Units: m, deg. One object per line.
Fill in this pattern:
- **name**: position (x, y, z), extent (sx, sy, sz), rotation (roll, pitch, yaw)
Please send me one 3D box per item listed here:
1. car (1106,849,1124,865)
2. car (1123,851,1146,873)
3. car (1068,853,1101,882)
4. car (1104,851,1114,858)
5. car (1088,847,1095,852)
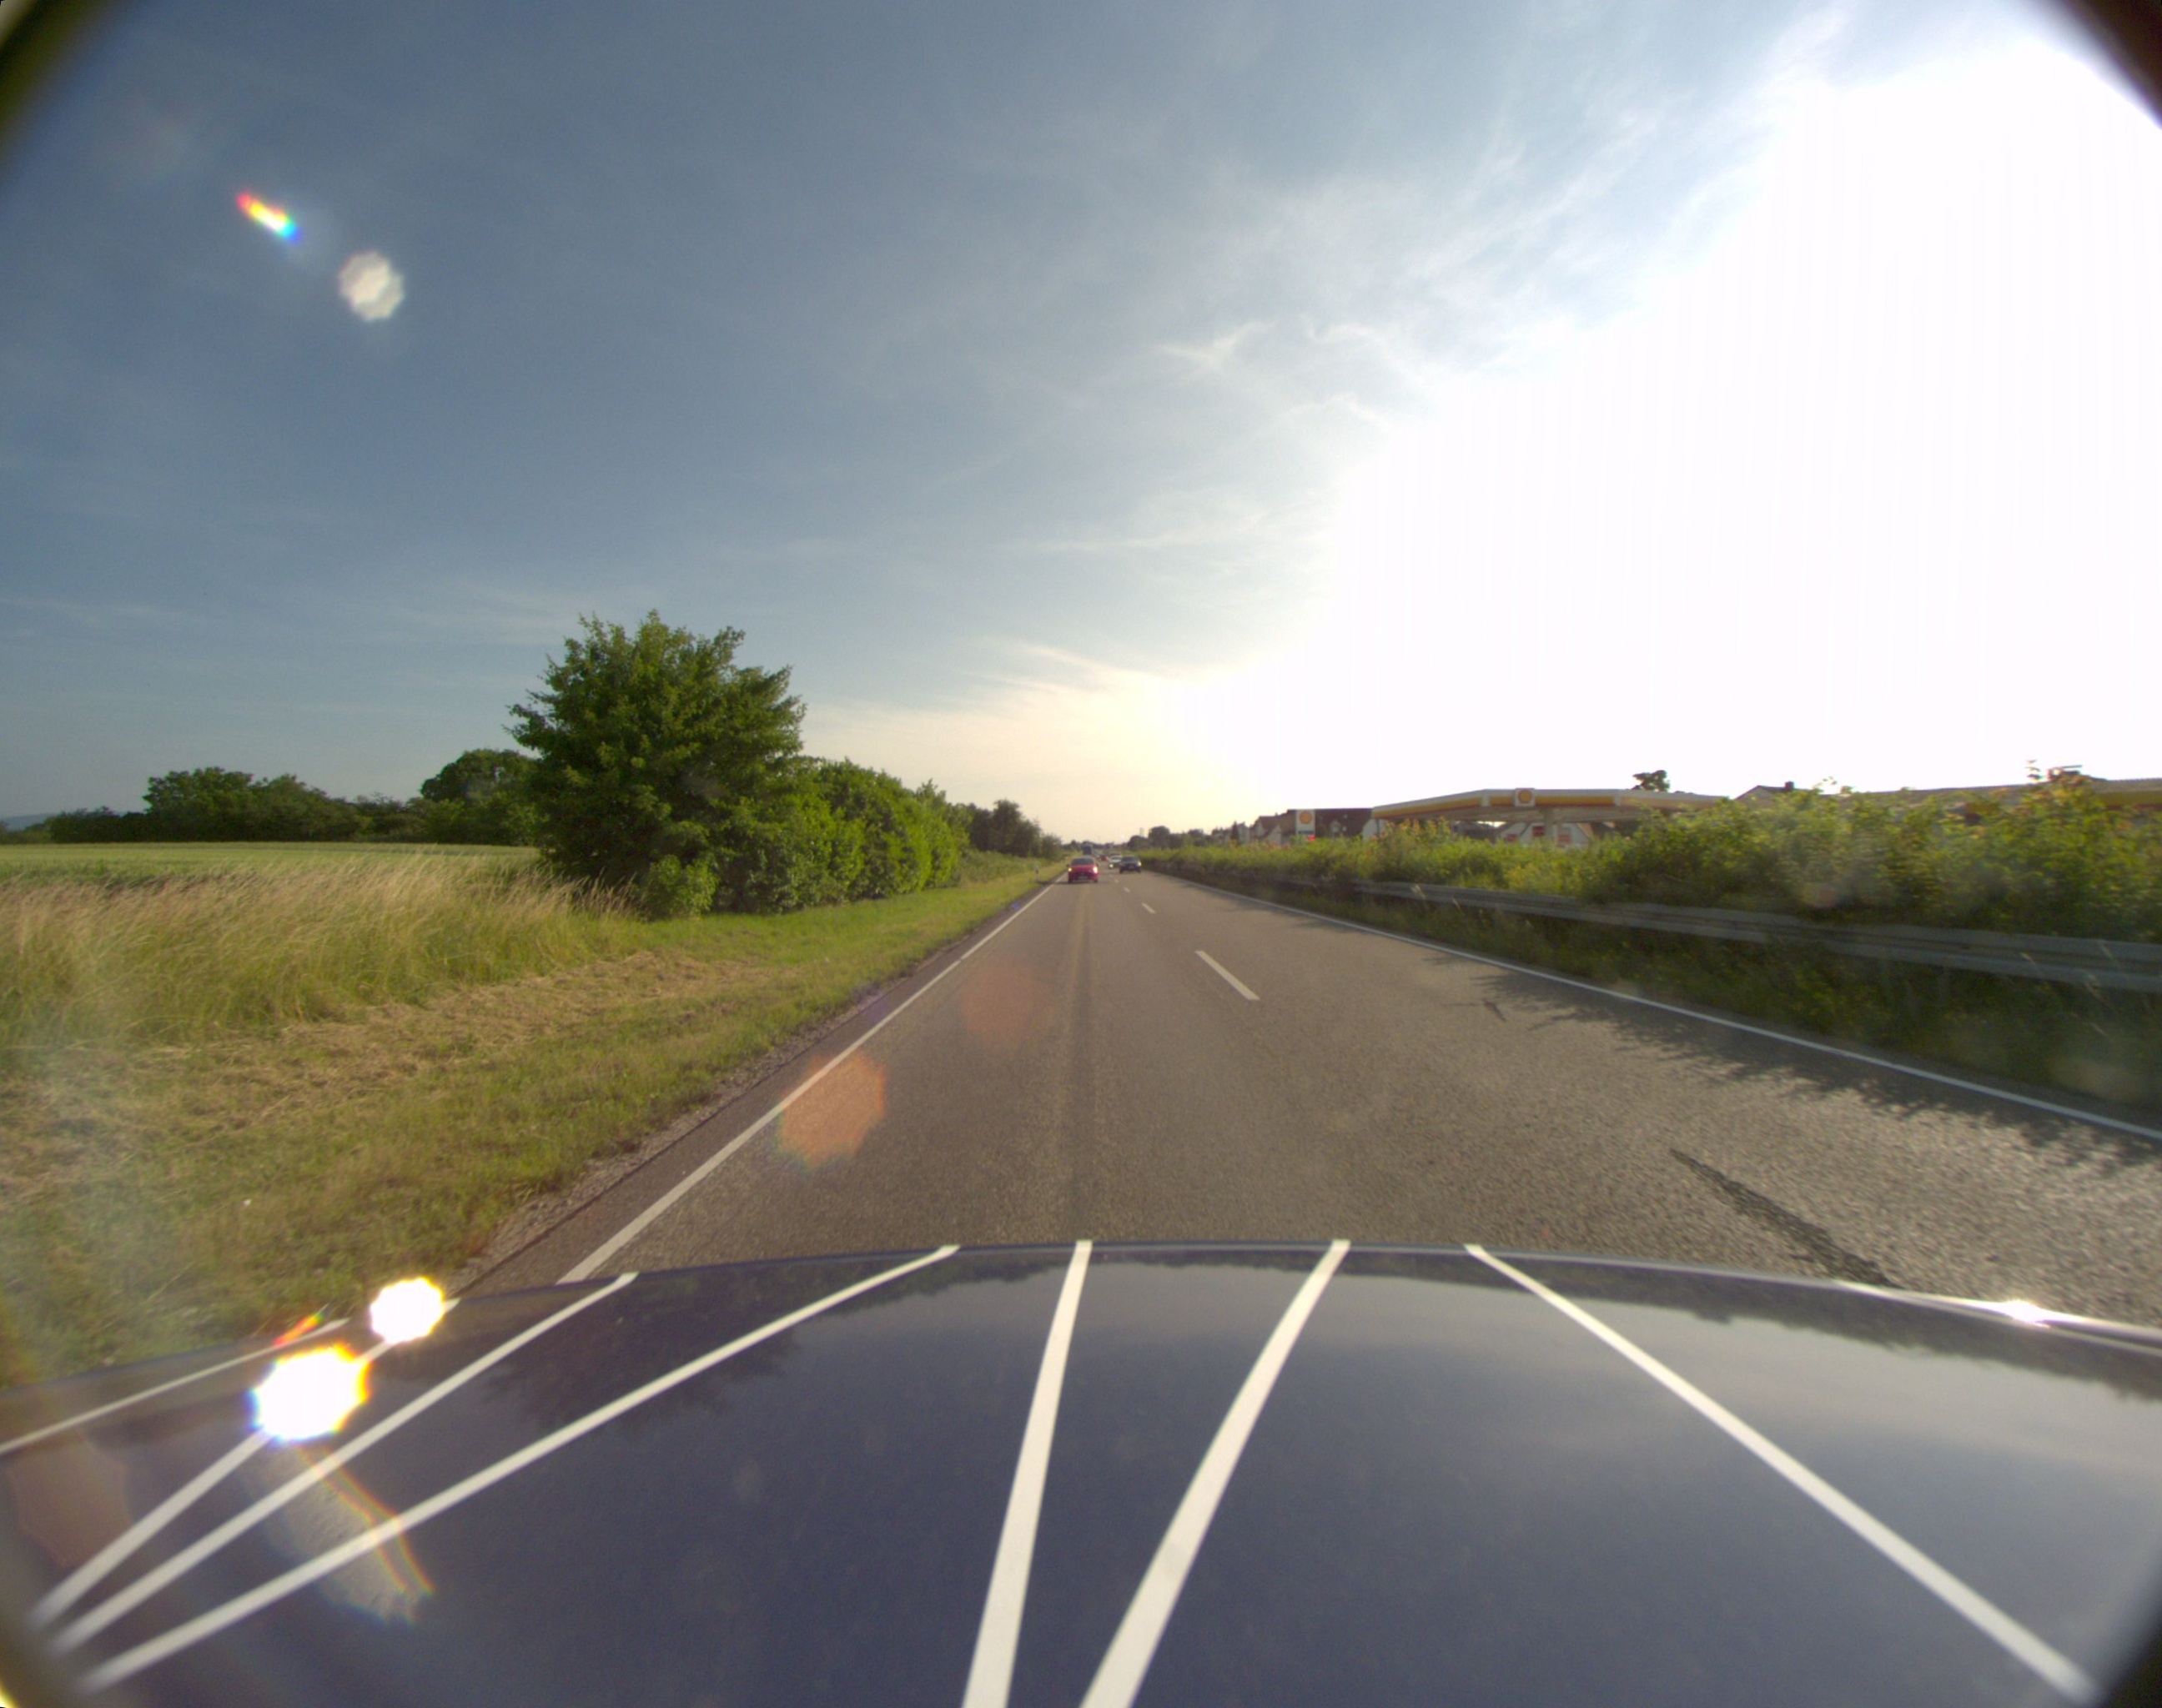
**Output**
- **car**: position (3.875, 0.365, 87.795), extent (1.998, 1.762, 4.000), rotation (-1, 1, 2)
- **car**: position (4.488, 0.662, 63.651), extent (1.693, 1.695, 4.000), rotation (-1, 1, 1)
- **car**: position (0.257, 0.736, 44.821), extent (1.821, 1.565, 4.000), rotation (-1, 1, 2)
- **car**: position (5.892, 0.090, 161.253), extent (1.998, 1.412, 4.000), rotation (-1, 1, 2)
- **car**: position (3.031, -1.307, 214.165), extent (1.998, 1.412, 4.000), rotation (-1, 1, 2)
